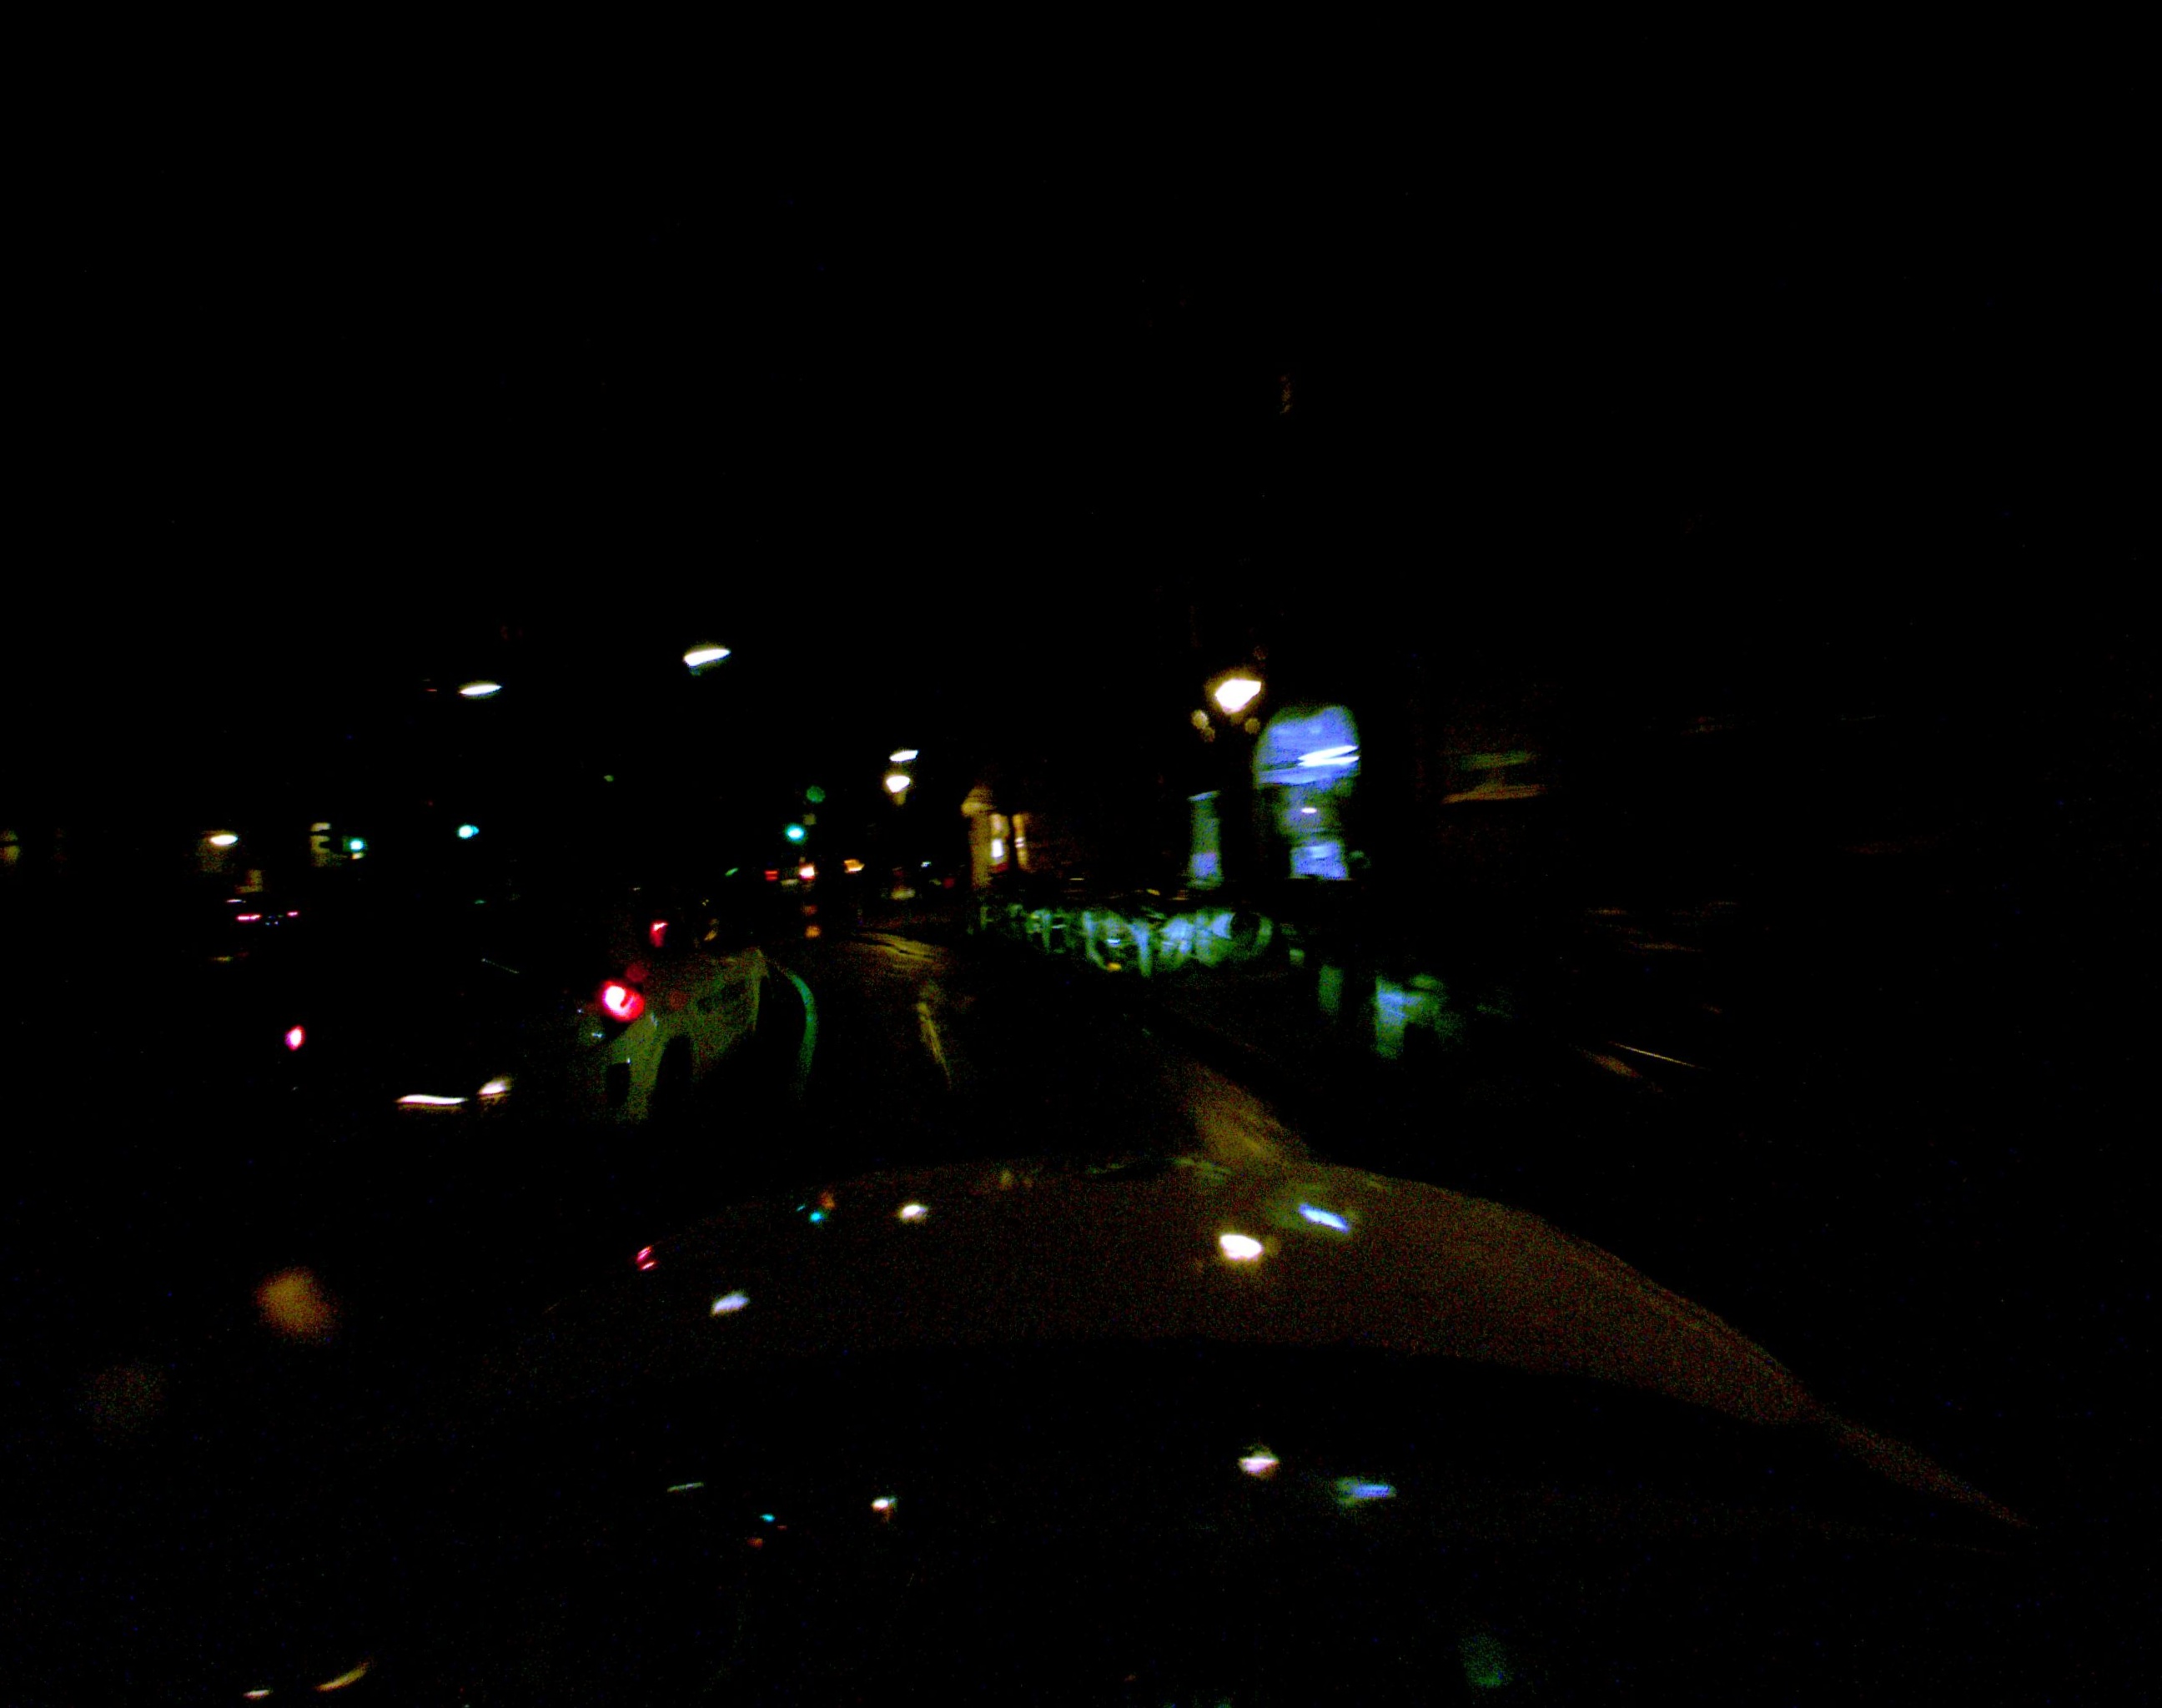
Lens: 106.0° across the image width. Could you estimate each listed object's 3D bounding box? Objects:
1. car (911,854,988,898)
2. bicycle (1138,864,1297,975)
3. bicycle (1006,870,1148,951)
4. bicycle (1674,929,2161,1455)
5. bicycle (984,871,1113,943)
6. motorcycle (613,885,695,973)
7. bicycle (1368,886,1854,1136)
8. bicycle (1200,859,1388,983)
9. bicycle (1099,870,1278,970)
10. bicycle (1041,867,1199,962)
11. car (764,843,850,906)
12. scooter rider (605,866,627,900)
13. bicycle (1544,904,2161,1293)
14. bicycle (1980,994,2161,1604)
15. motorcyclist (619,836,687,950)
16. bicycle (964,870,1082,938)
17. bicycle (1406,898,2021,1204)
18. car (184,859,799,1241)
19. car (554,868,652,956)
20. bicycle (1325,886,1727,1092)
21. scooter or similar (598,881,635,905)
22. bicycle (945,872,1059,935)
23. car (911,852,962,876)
[{"bbox_3d":[-5.502,0.879,34.504,1.635,1.524,3.596,-7,-1,16],"label":"car"},{"bbox_3d":[1.614,0.704,9.395,1.986,1.053,0.634,-3,0,-41],"label":"bicycle"},{"bbox_3d":[-0.046,0.801,11.999,1.979,1.006,0.637,-3,0,-26],"label":"bicycle"},{"bbox_3d":[2.745,0.743,2.052,1.960,1.006,0.643,-3,0,2],"label":"bicycle"},{"bbox_3d":[-0.523,0.836,13.378,1.979,1.006,0.637,-3,0,-26],"label":"bicycle"},{"bbox_3d":[-6.704,1.112,12.722,0.795,1.213,2.225,-1,-1,-37],"label":"motorcycle"},{"bbox_3d":[2.562,0.747,4.102,1.960,1.034,0.643,-3,0,2],"label":"bicycle"},{"bbox_3d":[2.233,0.654,8.501,1.829,1.087,0.715,-3,0,-26],"label":"bicycle"},{"bbox_3d":[1.230,0.754,9.507,1.960,1.006,0.643,-3,0,2],"label":"bicycle"},{"bbox_3d":[0.532,0.763,10.773,1.979,1.065,0.637,-3,0,-26],"label":"bicycle"},{"bbox_3d":[-11.697,0.801,35.208,2.213,2.441,5.374,-2,0,-5],"label":"car"},{"bbox_3d":[-21.982,1.376,38.466,0.634,1.573,0.656,0,0,28],"label":"scooter rider"},{"bbox_3d":[2.731,0.744,2.704,1.960,1.006,0.643,-3,0,2],"label":"bicycle"},{"bbox_3d":[2.835,0.752,1.311,1.960,1.006,0.643,-3,0,2],"label":"bicycle"},{"bbox_3d":[-6.676,0.588,12.695,0.795,1.695,0.811,-1,-1,-37],"label":"motorcyclist"},{"bbox_3d":[-1.029,0.861,14.578,1.979,1.035,0.637,-3,0,-26],"label":"bicycle"},{"bbox_3d":[2.472,0.759,3.358,1.960,1.006,0.643,-3,0,2],"label":"bicycle"},{"bbox_3d":[-3.224,0.861,5.476,1.920,1.516,3.584,-3,1,-11],"label":"car"},{"bbox_3d":[-10.967,1.240,18.661,1.760,1.739,3.761,-1,-1,-32],"label":"car"},{"bbox_3d":[2.538,0.759,4.807,1.960,1.006,0.643,-3,0,2],"label":"bicycle"},{"bbox_3d":[-21.959,1.823,38.507,0.634,1.052,1.377,0,0,28],"label":"scooter or similar"},{"bbox_3d":[-1.466,0.897,15.177,1.979,1.006,0.637,-3,0,-26],"label":"bicycle"},{"bbox_3d":[-12.012,0.789,68.046,1.978,1.825,5.333,0,2,17],"label":"car"}]
